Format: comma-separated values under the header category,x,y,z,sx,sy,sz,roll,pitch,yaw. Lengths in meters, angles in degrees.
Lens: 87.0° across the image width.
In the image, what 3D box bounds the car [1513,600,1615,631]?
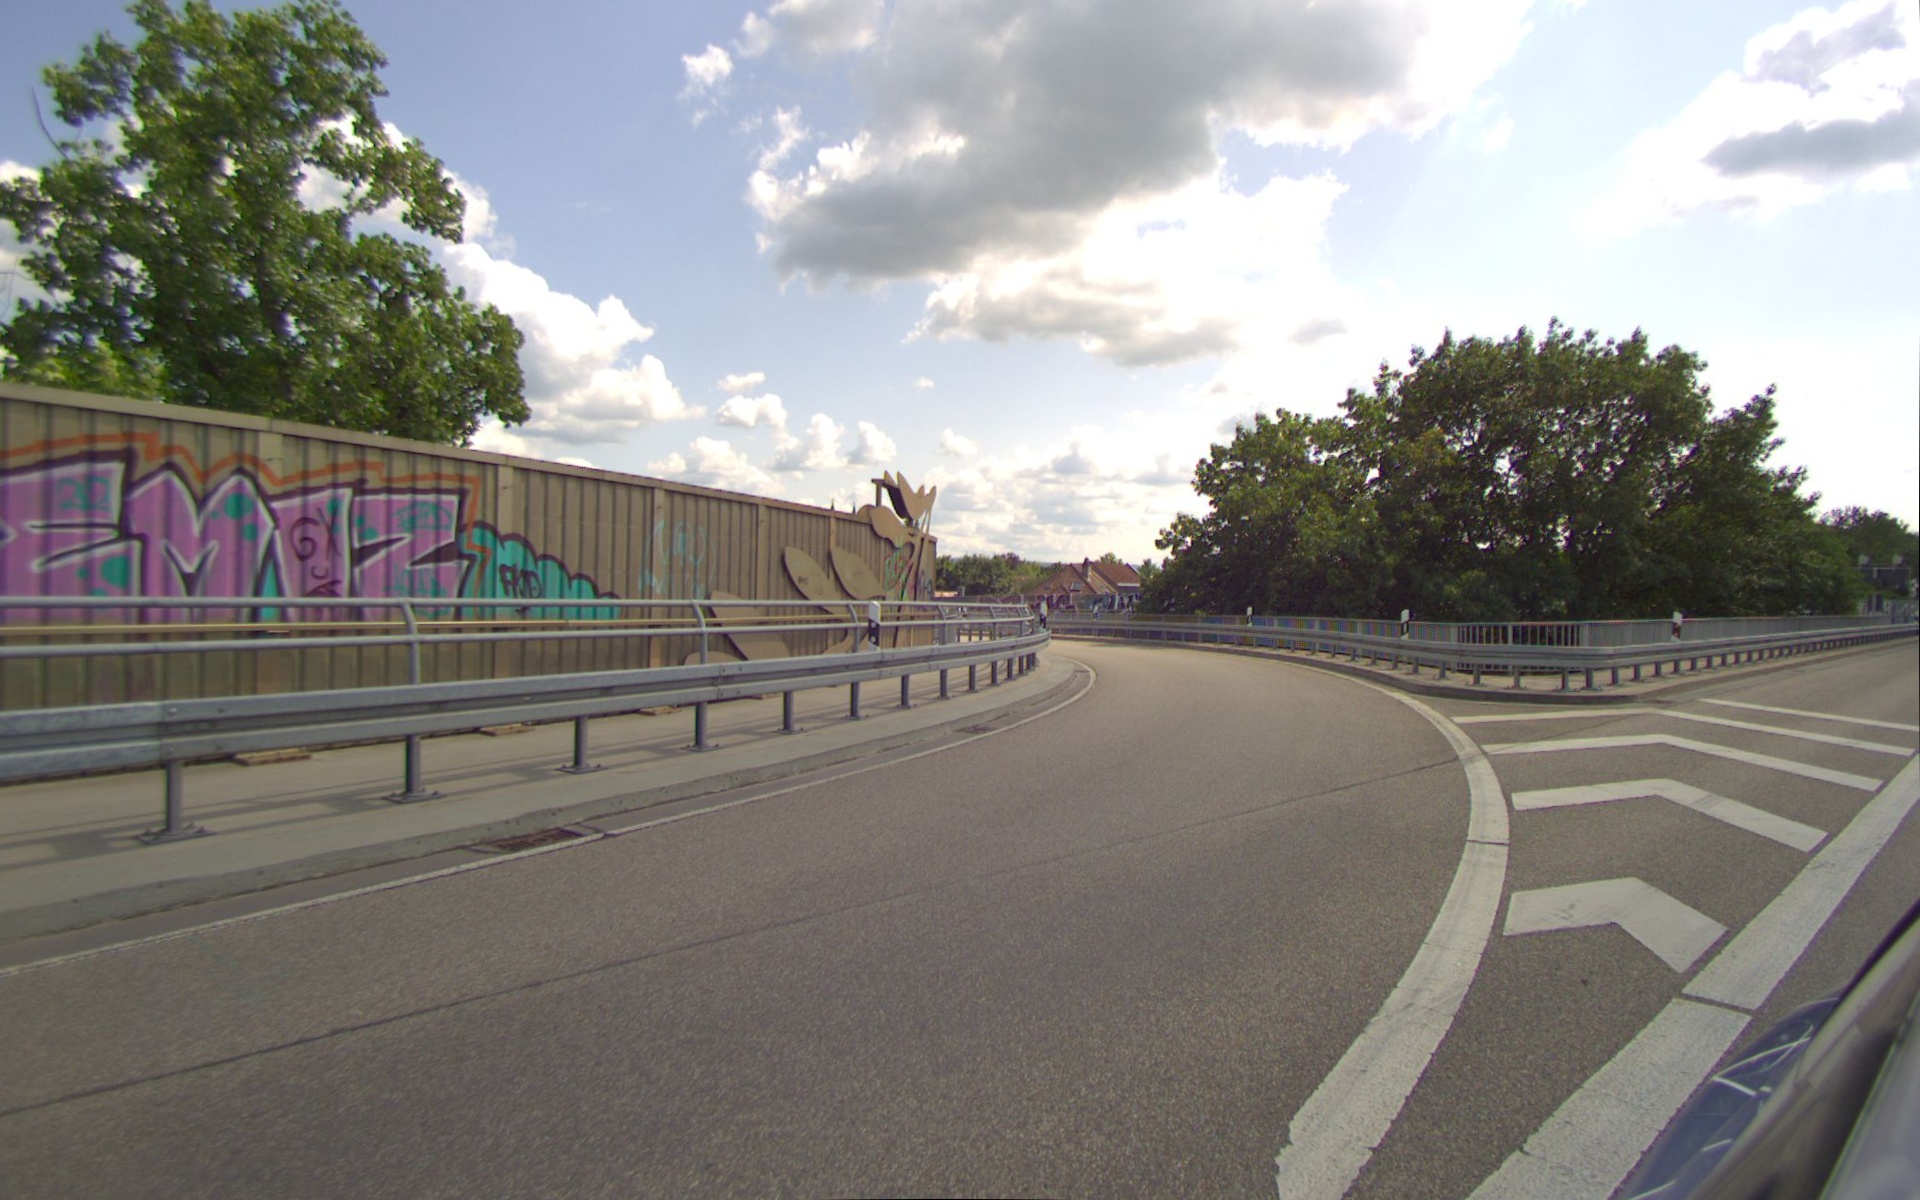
category,x,y,z,sx,sy,sz,roll,pitch,yaw
car,28.054,0.699,47.149,3.718,1.430,1.760,0,0,16
